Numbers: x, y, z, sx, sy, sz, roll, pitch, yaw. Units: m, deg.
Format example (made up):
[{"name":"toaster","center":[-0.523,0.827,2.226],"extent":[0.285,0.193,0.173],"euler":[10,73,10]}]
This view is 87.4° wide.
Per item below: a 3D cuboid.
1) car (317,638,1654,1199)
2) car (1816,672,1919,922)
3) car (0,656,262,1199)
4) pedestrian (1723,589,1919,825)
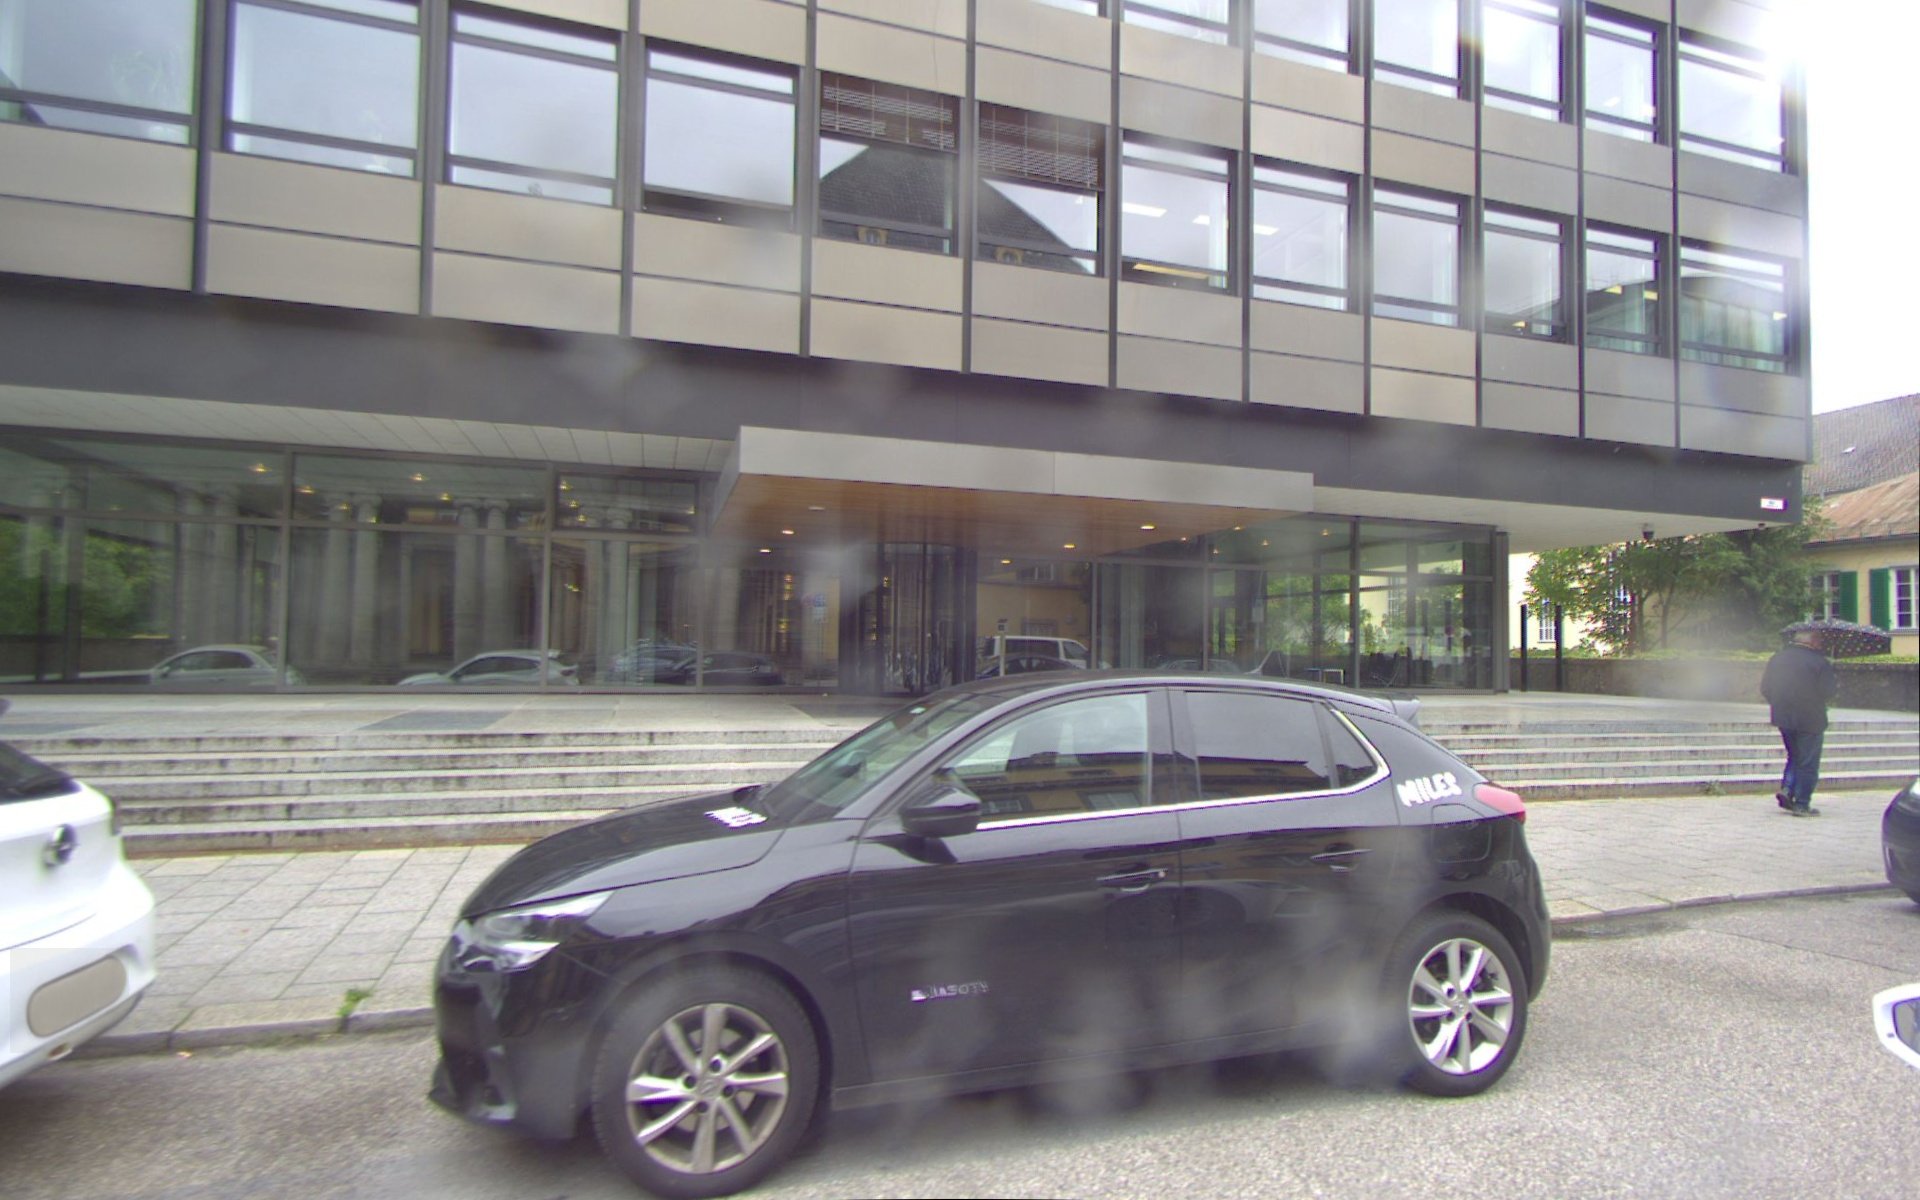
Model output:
[{"name":"car","center":[0.229,0.962,3.873],"extent":[4.167,1.479,1.741],"euler":[2,-5,-16]},{"name":"car","center":[8.039,1.203,6.243],"extent":[4.842,1.458,1.922],"euler":[2,-5,-19]},{"name":"car","center":[-4.519,0.872,2.458],"extent":[4.210,1.458,1.682],"euler":[2,-6,-17]},{"name":"pedestrian","center":[8.377,0.996,9.649],"extent":[1.202,2.081,1.135],"euler":[2,-4,-18]}]
